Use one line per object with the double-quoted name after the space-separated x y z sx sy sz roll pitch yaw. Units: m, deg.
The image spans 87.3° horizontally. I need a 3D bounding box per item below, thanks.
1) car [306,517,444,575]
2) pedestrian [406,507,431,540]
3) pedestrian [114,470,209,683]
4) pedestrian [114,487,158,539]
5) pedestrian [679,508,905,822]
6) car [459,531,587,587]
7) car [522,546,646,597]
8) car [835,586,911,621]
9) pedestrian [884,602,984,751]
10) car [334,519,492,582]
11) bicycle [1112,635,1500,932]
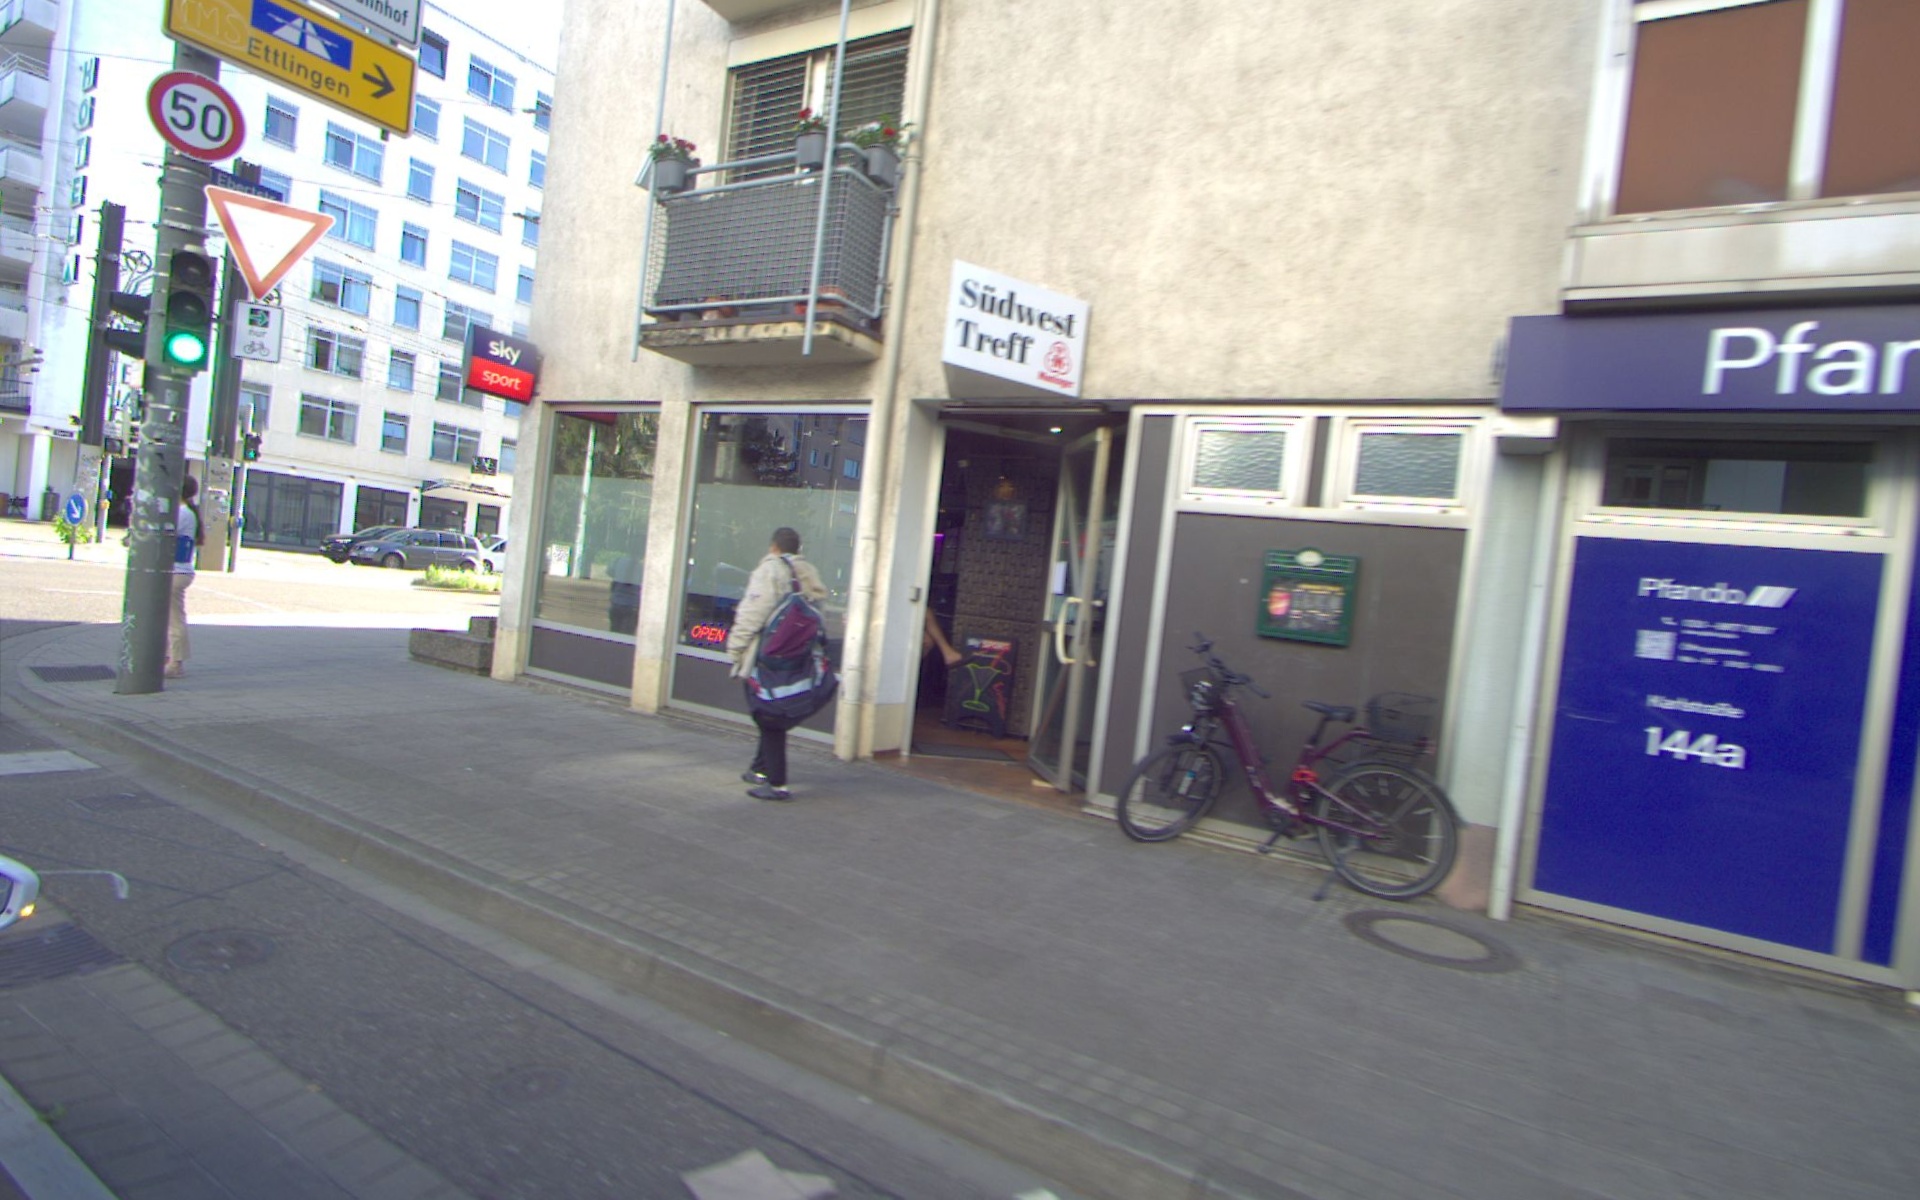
-21.977 -1.997 37.949 1.766 1.594 4.038 7 -1 32 "car"
-24.883 -3.517 46.236 0.672 1.392 0.529 7 -1 12 "pedestrian"
-6.492 -0.190 8.204 0.535 1.646 0.727 1 3 -33 "pedestrian"
-30.809 -3.255 37.632 0.725 1.766 0.908 7 -1 31 "pedestrian"
-0.968 0.343 5.893 0.796 1.614 0.885 8 4 27 "pedestrian"
-21.008 -1.934 48.566 1.917 1.892 5.313 10 2 33 "car"
-15.569 -1.161 41.843 1.795 1.509 4.529 6 -1 35 "car"
-4.970 0.242 58.242 1.937 1.498 4.560 7 -1 32 "car"
-0.216 0.609 8.309 0.667 1.102 0.624 7 2 -2 "pedestrian"
-19.350 -1.712 35.771 1.906 1.567 4.441 6 -1 35 "car"
1.762 0.873 5.266 1.748 1.176 0.497 6 0 32 "bicycle"
